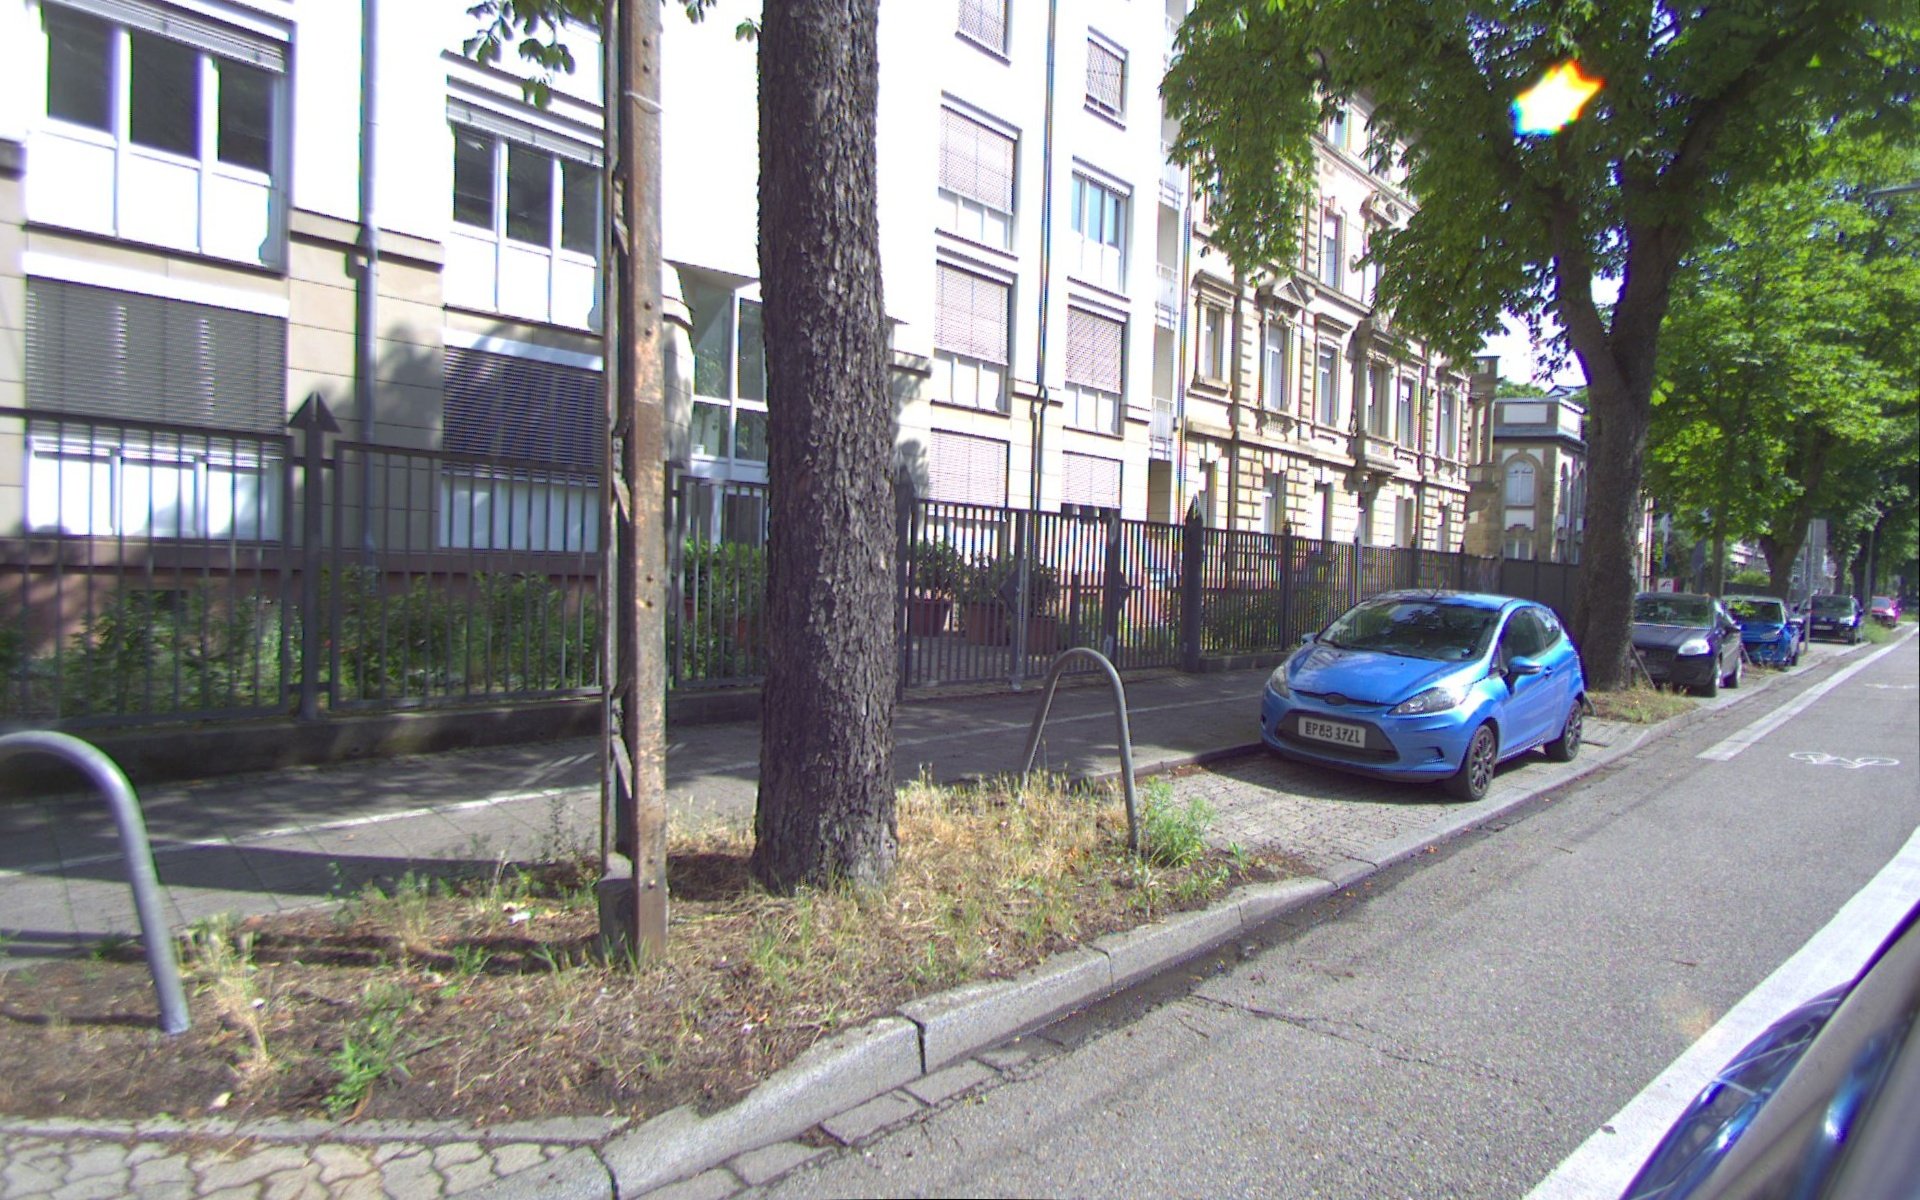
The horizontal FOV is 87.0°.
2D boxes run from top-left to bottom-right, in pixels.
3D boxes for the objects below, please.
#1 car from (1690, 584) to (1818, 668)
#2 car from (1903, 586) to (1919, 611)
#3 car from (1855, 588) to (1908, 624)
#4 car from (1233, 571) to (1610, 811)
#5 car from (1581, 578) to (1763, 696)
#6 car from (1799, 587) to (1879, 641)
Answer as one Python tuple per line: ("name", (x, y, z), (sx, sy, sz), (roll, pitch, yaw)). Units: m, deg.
("car", (16.911, 0.493, 21.506), (1.676, 1.493, 3.603), (7, 5, 44))
("car", (63.682, -0.062, 66.904), (1.741, 1.592, 3.867), (7, 5, 44))
("car", (46.083, 0.292, 50.575), (1.741, 1.592, 3.867), (7, 5, 44))
("car", (4.033, 0.588, 8.581), (3.601, 1.493, 1.644), (0, 5, -45))
("car", (11.175, 0.492, 15.798), (1.676, 1.493, 3.603), (7, 5, 44))
("car", (29.902, 0.427, 34.395), (1.741, 1.592, 3.602), (7, 5, 44))
